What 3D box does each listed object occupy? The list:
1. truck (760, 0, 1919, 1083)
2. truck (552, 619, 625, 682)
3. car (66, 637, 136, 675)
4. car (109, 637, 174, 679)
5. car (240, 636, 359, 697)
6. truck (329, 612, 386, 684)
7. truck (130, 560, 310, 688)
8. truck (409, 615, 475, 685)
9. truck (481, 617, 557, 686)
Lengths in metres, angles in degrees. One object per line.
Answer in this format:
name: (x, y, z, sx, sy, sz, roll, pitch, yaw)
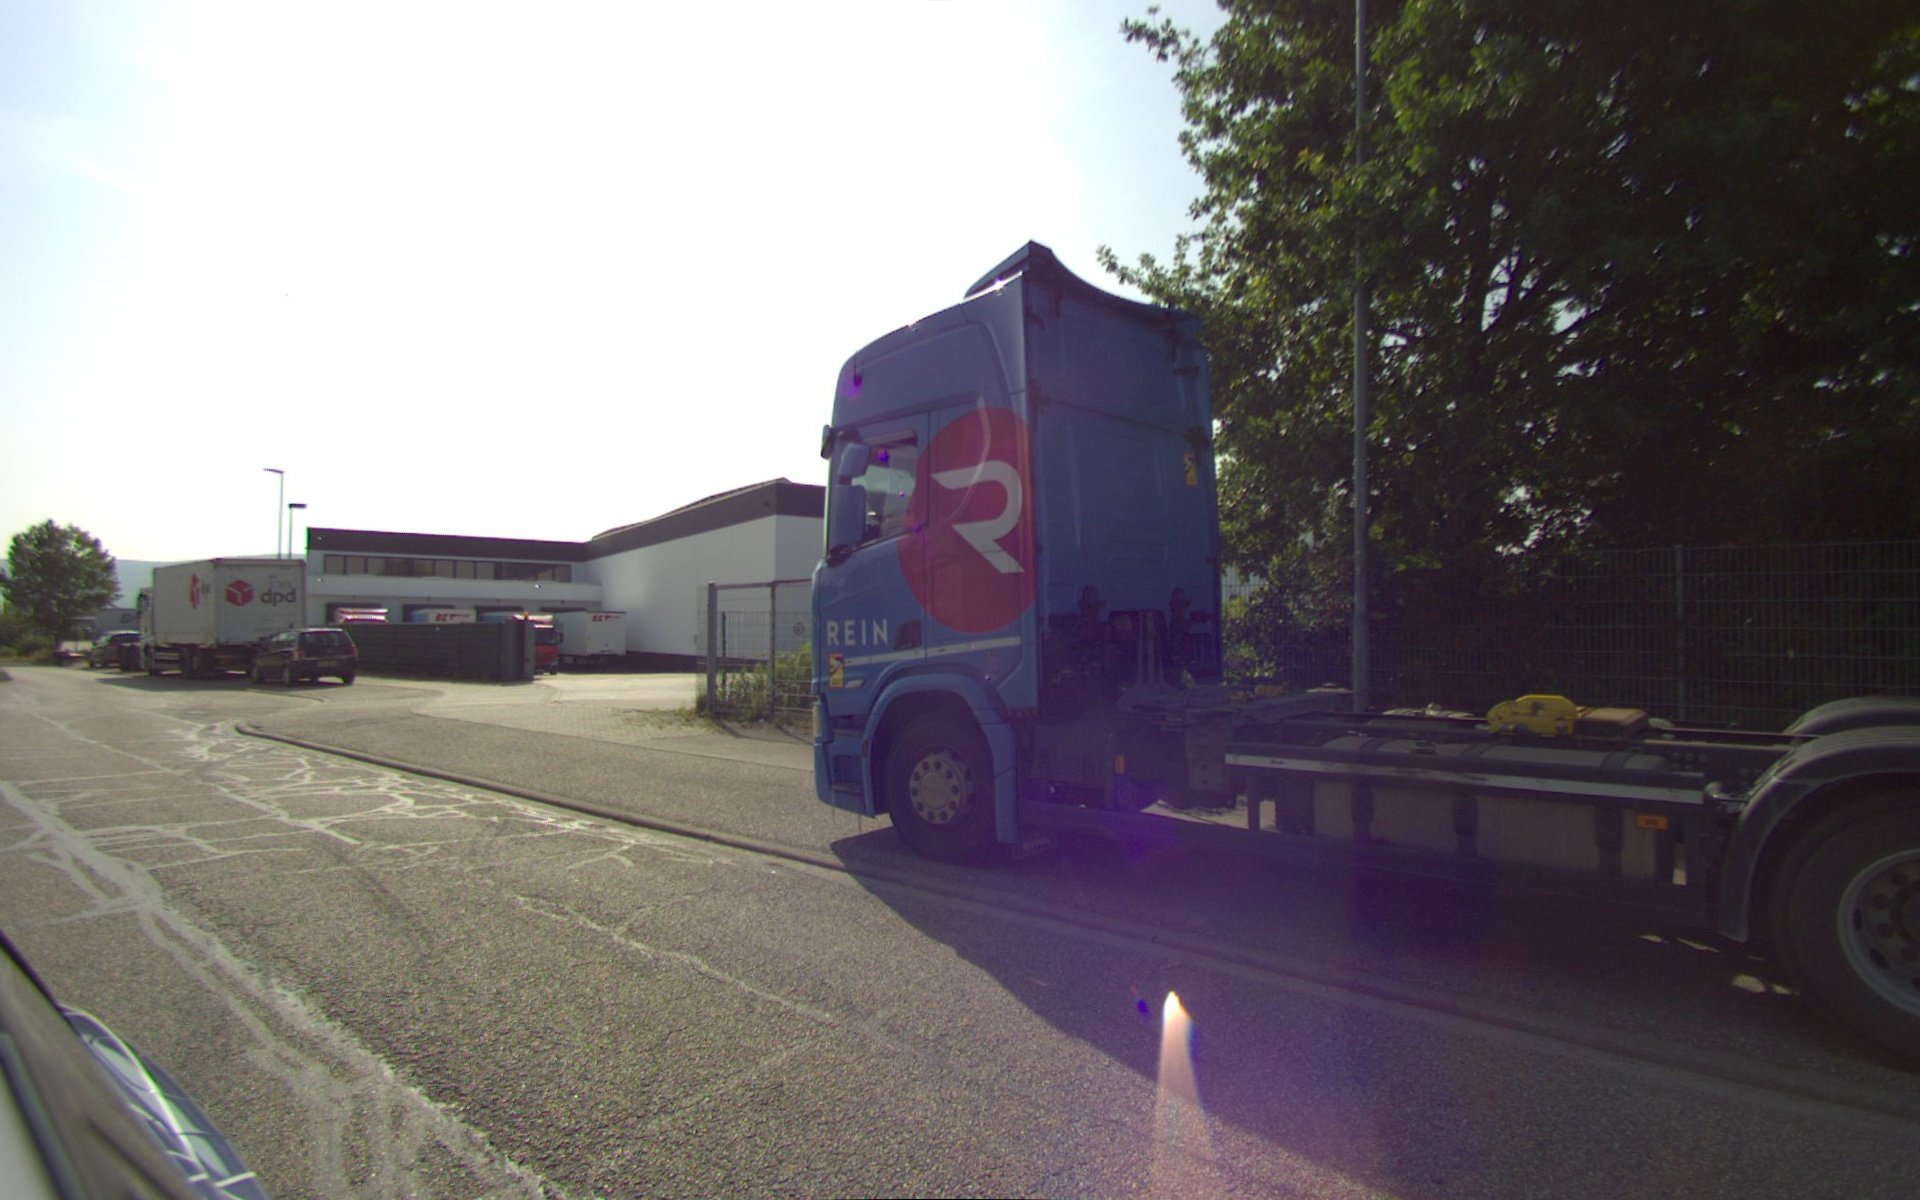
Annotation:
truck: (3.030, -0.316, 5.317, 9.630, 3.914, 2.685, -1, -1, 41)
truck: (-25.855, 3.460, 70.177, 2.860, 4.087, 9.265, 2, -3, -32)
car: (-37.851, 2.429, 44.582, 3.963, 1.594, 1.713, -2, -1, 40)
car: (-32.863, 2.307, 40.607, 3.165, 1.619, 1.423, -1, -3, 40)
car: (-19.390, 1.895, 29.658, 4.188, 1.604, 1.745, -2, -1, 39)
truck: (-36.128, 2.826, 60.584, 2.614, 4.009, 9.265, 2, -3, -31)
truck: (-25.939, 0.808, 35.219, 10.055, 3.883, 2.749, -1, 0, 40)
truck: (-33.482, 3.166, 65.215, 2.990, 4.168, 9.265, 2, -3, -32)
truck: (-29.092, 3.307, 66.377, 2.743, 4.076, 12.389, 2, -3, -31)
